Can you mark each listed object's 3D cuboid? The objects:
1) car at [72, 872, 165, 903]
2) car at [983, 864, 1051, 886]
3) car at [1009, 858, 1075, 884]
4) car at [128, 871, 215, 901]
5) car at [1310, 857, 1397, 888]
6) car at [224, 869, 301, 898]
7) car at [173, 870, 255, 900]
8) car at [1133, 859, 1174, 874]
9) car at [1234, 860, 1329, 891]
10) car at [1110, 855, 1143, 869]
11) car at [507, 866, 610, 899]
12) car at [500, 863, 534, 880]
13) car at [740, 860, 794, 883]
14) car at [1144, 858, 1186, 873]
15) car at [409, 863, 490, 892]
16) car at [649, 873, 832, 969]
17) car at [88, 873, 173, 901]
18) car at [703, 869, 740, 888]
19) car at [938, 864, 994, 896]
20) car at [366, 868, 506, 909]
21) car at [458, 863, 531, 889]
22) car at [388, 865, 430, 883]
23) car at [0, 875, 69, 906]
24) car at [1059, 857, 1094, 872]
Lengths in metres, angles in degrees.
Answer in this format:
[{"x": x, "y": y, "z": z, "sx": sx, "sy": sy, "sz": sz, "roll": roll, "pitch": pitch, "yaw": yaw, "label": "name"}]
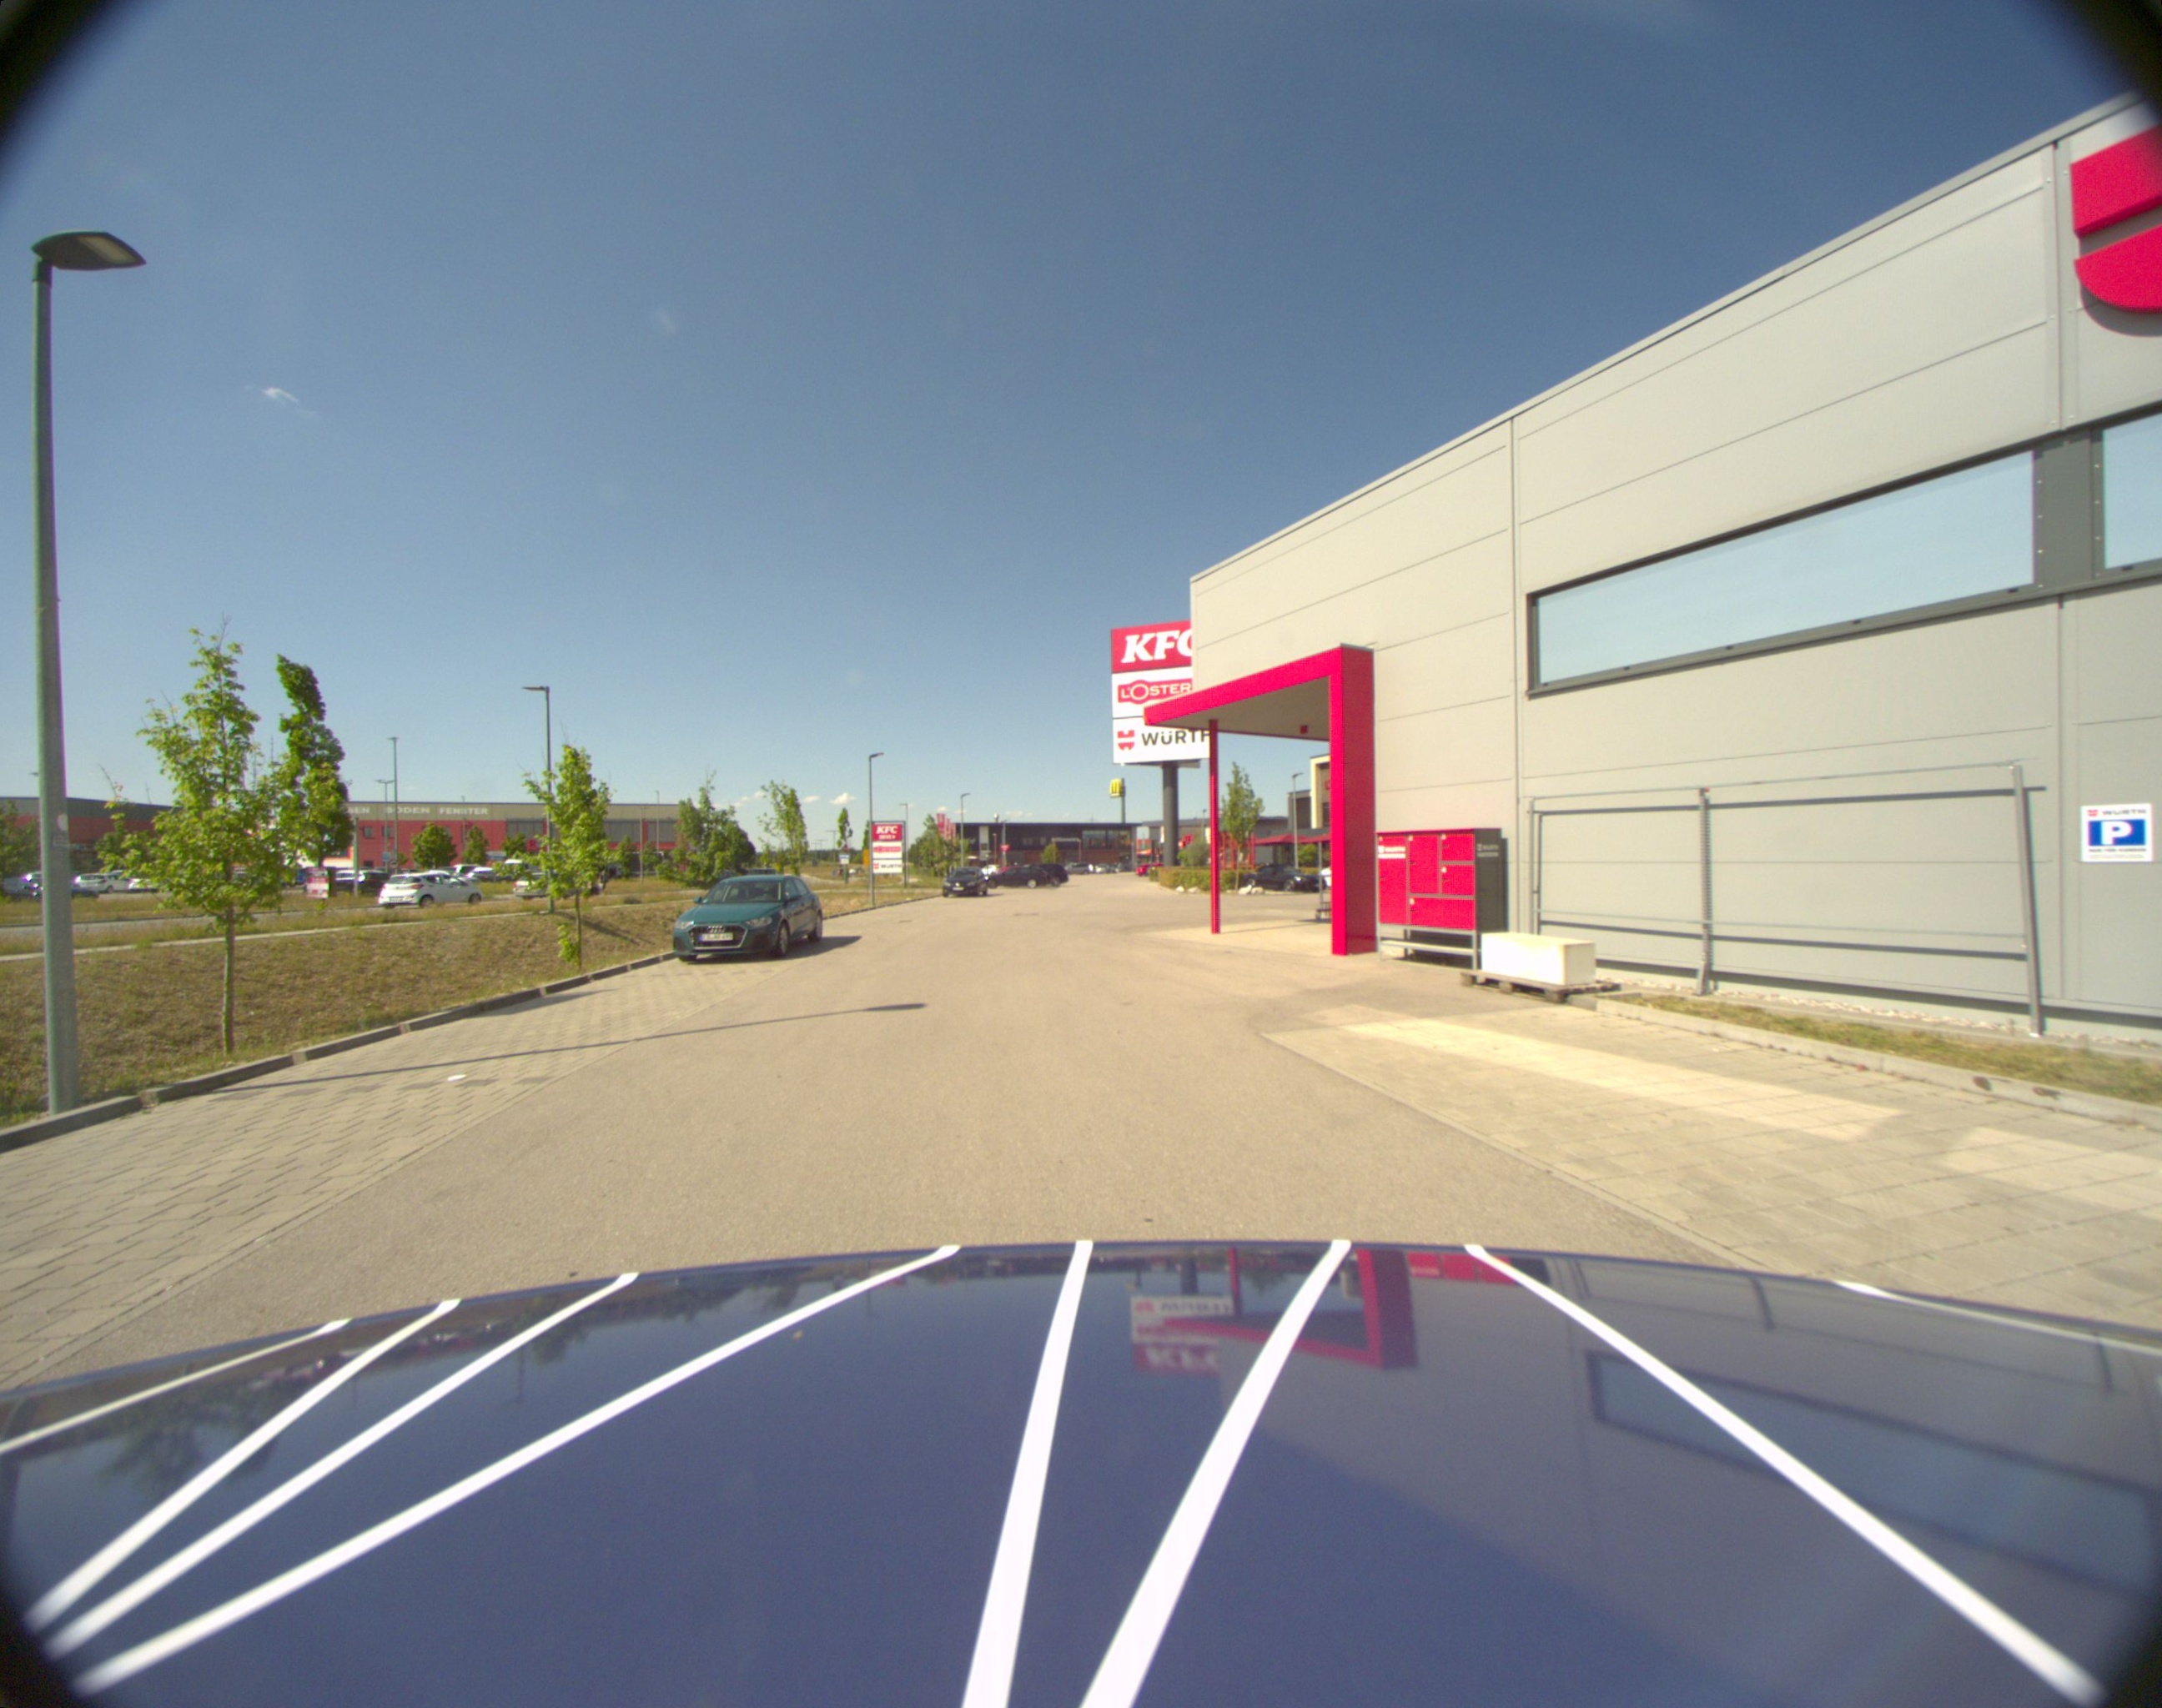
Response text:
[{"x": -69.676, "y": 2.396, "z": 55.129, "sx": 2.001, "sy": 2.026, "sz": 4.478, "roll": -2, "pitch": 0, "yaw": -18, "label": "car"}, {"x": -4.357, "y": 1.434, "z": 52.309, "sx": 4.532, "sy": 1.450, "sz": 2.000, "roll": -1, "pitch": 0, "yaw": -3, "label": "car"}, {"x": -2.860, "y": 1.242, "z": 56.457, "sx": 4.528, "sy": 1.825, "sz": 2.001, "roll": -1, "pitch": 0, "yaw": 7, "label": "car"}, {"x": -67.309, "y": 2.331, "z": 56.338, "sx": 2.001, "sy": 2.026, "sz": 4.478, "roll": -2, "pitch": 0, "yaw": -18, "label": "car"}, {"x": 13.441, "y": 0.895, "z": 37.674, "sx": 1.806, "sy": 1.466, "sz": 3.906, "roll": -1, "pitch": 0, "yaw": -26, "label": "car"}, {"x": -61.900, "y": 2.178, "z": 57.556, "sx": 2.001, "sy": 2.026, "sz": 4.478, "roll": -2, "pitch": 0, "yaw": -18, "label": "car"}, {"x": -64.608, "y": 2.254, "z": 56.750, "sx": 2.001, "sy": 2.026, "sz": 4.478, "roll": -2, "pitch": 0, "yaw": -18, "label": "car"}, {"x": 8.169, "y": 1.375, "z": 85.783, "sx": 4.100, "sy": 1.556, "sz": 1.876, "roll": -1, "pitch": 0, "yaw": -19, "label": "car"}, {"x": 9.230, "y": 0.984, "z": 35.229, "sx": 1.834, "sy": 1.330, "sz": 4.144, "roll": -1, "pitch": 0, "yaw": -31, "label": "car"}, {"x": 6.783, "y": 1.232, "z": 113.439, "sx": 4.488, "sy": 2.002, "sz": 1.997, "roll": -2, "pitch": 0, "yaw": -19, "label": "car"}, {"x": -27.611, "y": 1.480, "z": 40.372, "sx": 1.945, "sy": 1.542, "sz": 4.762, "roll": -2, "pitch": 0, "yaw": 3, "label": "car"}, {"x": -69.200, "y": 2.093, "z": 93.347, "sx": 2.001, "sy": 2.026, "sz": 4.478, "roll": -2, "pitch": 0, "yaw": -18, "label": "car"}, {"x": -23.339, "y": 1.273, "z": 56.706, "sx": 1.945, "sy": 1.542, "sz": 4.761, "roll": -2, "pitch": 0, "yaw": 0, "label": "car"}, {"x": 9.197, "y": 1.296, "z": 83.257, "sx": 4.100, "sy": 1.556, "sz": 1.876, "roll": -1, "pitch": 0, "yaw": -19, "label": "car"}, {"x": -49.818, "y": 1.836, "z": 60.033, "sx": 4.484, "sy": 2.026, "sz": 1.999, "roll": -2, "pitch": 0, "yaw": -7, "label": "car"}, {"x": -6.157, "y": 1.126, "z": 14.324, "sx": 1.845, "sy": 1.441, "sz": 4.225, "roll": -1, "pitch": 0, "yaw": -5, "label": "car"}, {"x": -74.075, "y": 2.535, "z": 59.324, "sx": 2.001, "sy": 2.026, "sz": 4.478, "roll": -2, "pitch": 0, "yaw": -18, "label": "car"}, {"x": -29.856, "y": 2.003, "z": 63.220, "sx": 1.829, "sy": 1.532, "sz": 3.996, "roll": -1, "pitch": -1, "yaw": -12, "label": "car"}, {"x": -5.765, "y": 1.289, "z": 38.599, "sx": 1.876, "sy": 1.457, "sz": 4.365, "roll": -1, "pitch": 0, "yaw": 3, "label": "car"}, {"x": -27.748, "y": 1.437, "z": 32.935, "sx": 1.945, "sy": 1.542, "sz": 4.761, "roll": -2, "pitch": 0, "yaw": 0, "label": "car"}, {"x": -50.152, "y": 1.860, "z": 65.035, "sx": 4.484, "sy": 2.026, "sz": 1.999, "roll": -2, "pitch": 0, "yaw": -7, "label": "car"}, {"x": -79.653, "y": 2.386, "z": 90.115, "sx": 2.001, "sy": 2.026, "sz": 4.478, "roll": -2, "pitch": 0, "yaw": -18, "label": "car"}, {"x": -74.564, "y": 2.532, "z": 53.313, "sx": 2.001, "sy": 2.026, "sz": 4.478, "roll": -2, "pitch": 0, "yaw": -18, "label": "car"}, {"x": -0.649, "y": 1.432, "z": 108.249, "sx": 4.488, "sy": 2.002, "sz": 1.997, "roll": -2, "pitch": 0, "yaw": -19, "label": "car"}]
